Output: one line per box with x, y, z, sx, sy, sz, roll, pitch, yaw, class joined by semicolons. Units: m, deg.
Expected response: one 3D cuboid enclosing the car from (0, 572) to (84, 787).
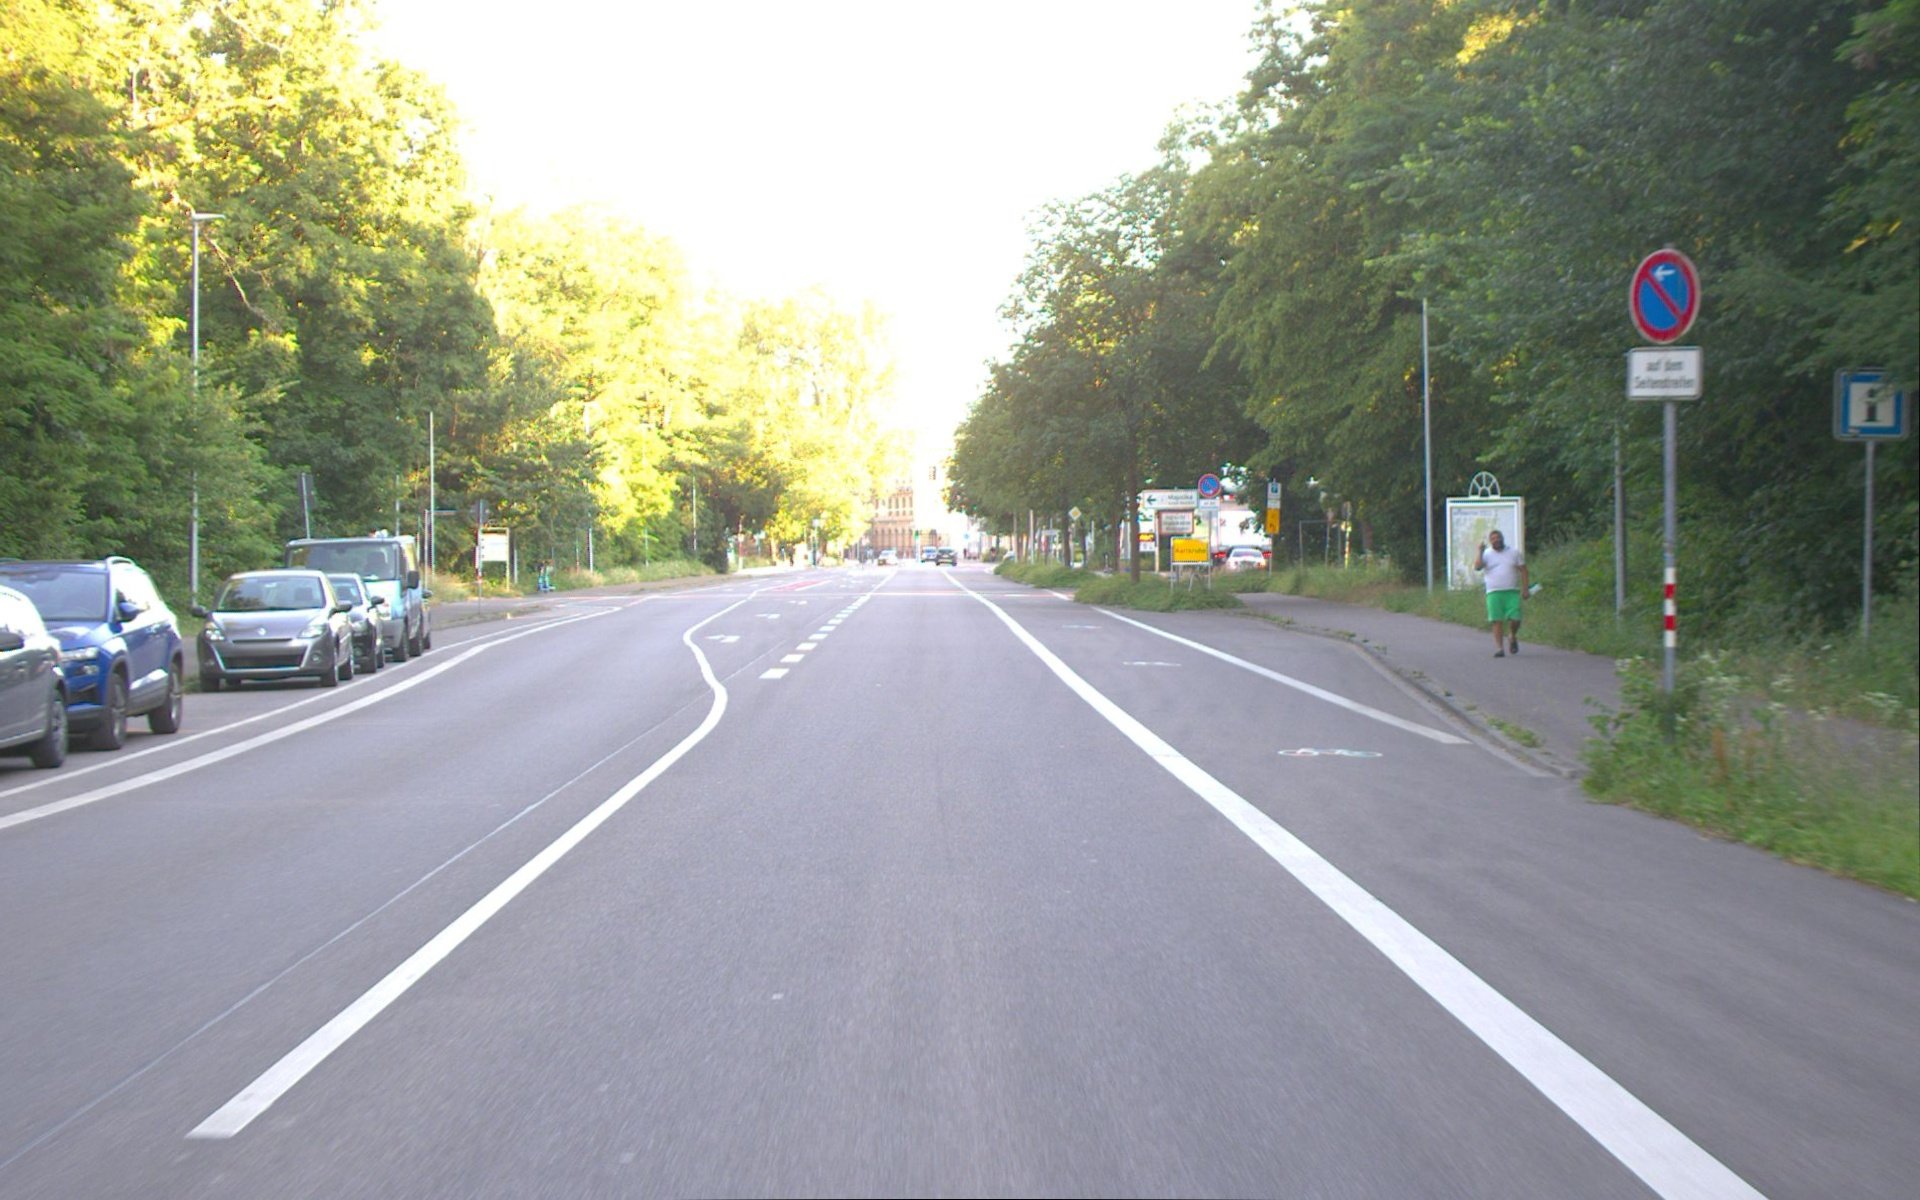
-7.643;0.588;24.813;1.668;1.496;4.247;-2;1;-2;car

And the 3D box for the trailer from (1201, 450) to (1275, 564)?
13.613;-4.519;168.666;3.020;5.443;7.934;0;1;0;trailer

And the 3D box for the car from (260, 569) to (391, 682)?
-9.050;0.336;49.225;1.542;1.488;3.973;-2;1;-7;car

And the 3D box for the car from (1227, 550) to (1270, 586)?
13.074;-1.447;156.120;1.770;1.578;4.818;1;1;3;car

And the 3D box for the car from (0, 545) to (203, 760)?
-7.920;0.410;30.003;1.745;1.706;4.523;-2;1;-2;car

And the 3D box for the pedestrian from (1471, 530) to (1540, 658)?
7.528;-0.083;47.449;0.838;1.745;0.726;0;1;0;pedestrian

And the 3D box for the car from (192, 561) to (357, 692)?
-8.659;0.293;43.698;1.616;1.529;4.041;-2;1;-6;car

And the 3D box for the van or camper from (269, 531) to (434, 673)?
-9.662;-0.003;54.967;2.031;2.087;5.015;-2;1;-4;van or camper
